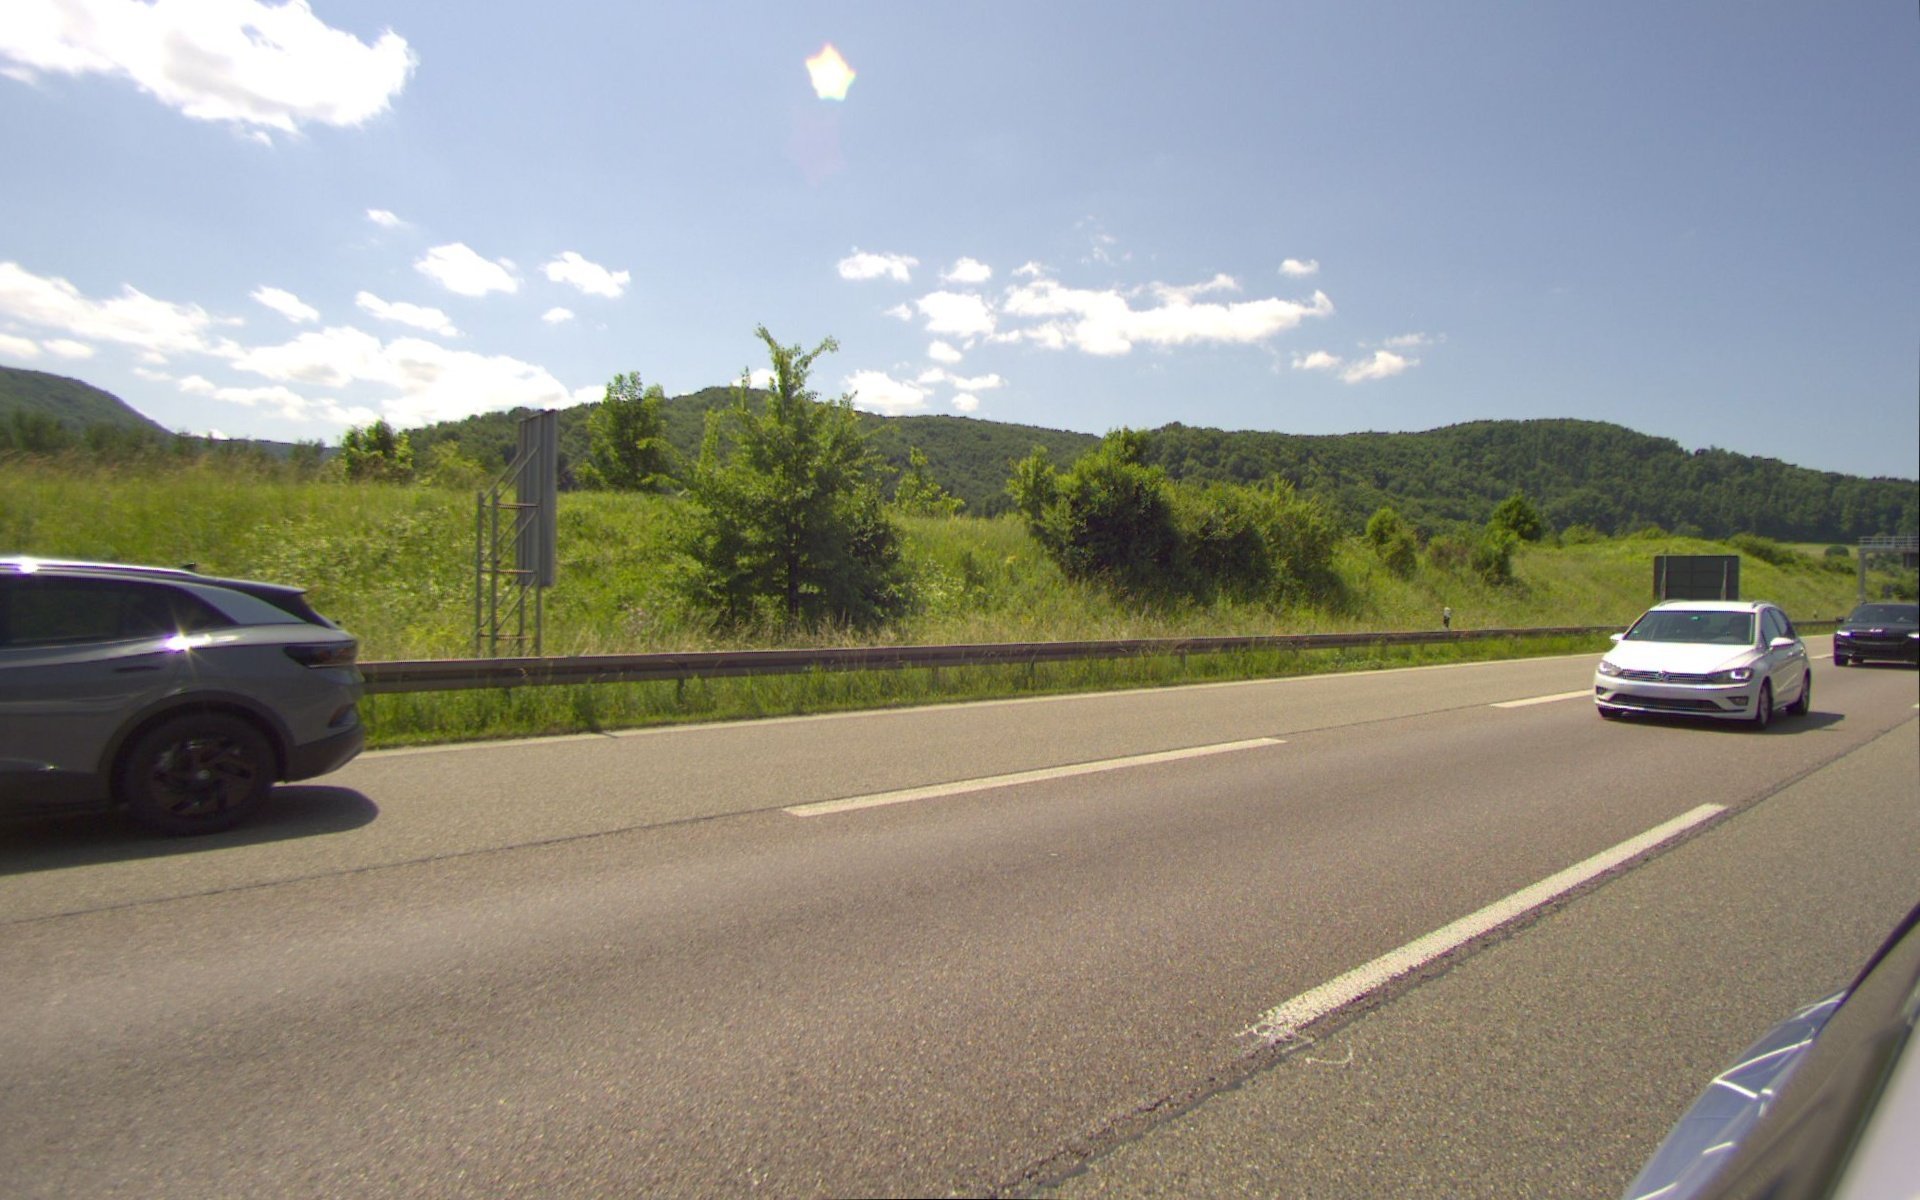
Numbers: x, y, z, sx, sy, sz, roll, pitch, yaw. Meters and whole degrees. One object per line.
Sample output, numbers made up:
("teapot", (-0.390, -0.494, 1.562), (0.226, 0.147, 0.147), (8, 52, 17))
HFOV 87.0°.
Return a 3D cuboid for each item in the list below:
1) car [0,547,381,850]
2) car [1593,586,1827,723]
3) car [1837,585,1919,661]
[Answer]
("car", (-5.882, 0.515, 5.840), (4.175, 1.615, 1.682), (0, 0, -41))
("car", (10.086, 0.609, 13.505), (3.985, 1.560, 1.775), (0, 0, -42))
("car", (24.092, 0.561, 25.837), (4.096, 1.794, 1.893), (1, 1, -40))
